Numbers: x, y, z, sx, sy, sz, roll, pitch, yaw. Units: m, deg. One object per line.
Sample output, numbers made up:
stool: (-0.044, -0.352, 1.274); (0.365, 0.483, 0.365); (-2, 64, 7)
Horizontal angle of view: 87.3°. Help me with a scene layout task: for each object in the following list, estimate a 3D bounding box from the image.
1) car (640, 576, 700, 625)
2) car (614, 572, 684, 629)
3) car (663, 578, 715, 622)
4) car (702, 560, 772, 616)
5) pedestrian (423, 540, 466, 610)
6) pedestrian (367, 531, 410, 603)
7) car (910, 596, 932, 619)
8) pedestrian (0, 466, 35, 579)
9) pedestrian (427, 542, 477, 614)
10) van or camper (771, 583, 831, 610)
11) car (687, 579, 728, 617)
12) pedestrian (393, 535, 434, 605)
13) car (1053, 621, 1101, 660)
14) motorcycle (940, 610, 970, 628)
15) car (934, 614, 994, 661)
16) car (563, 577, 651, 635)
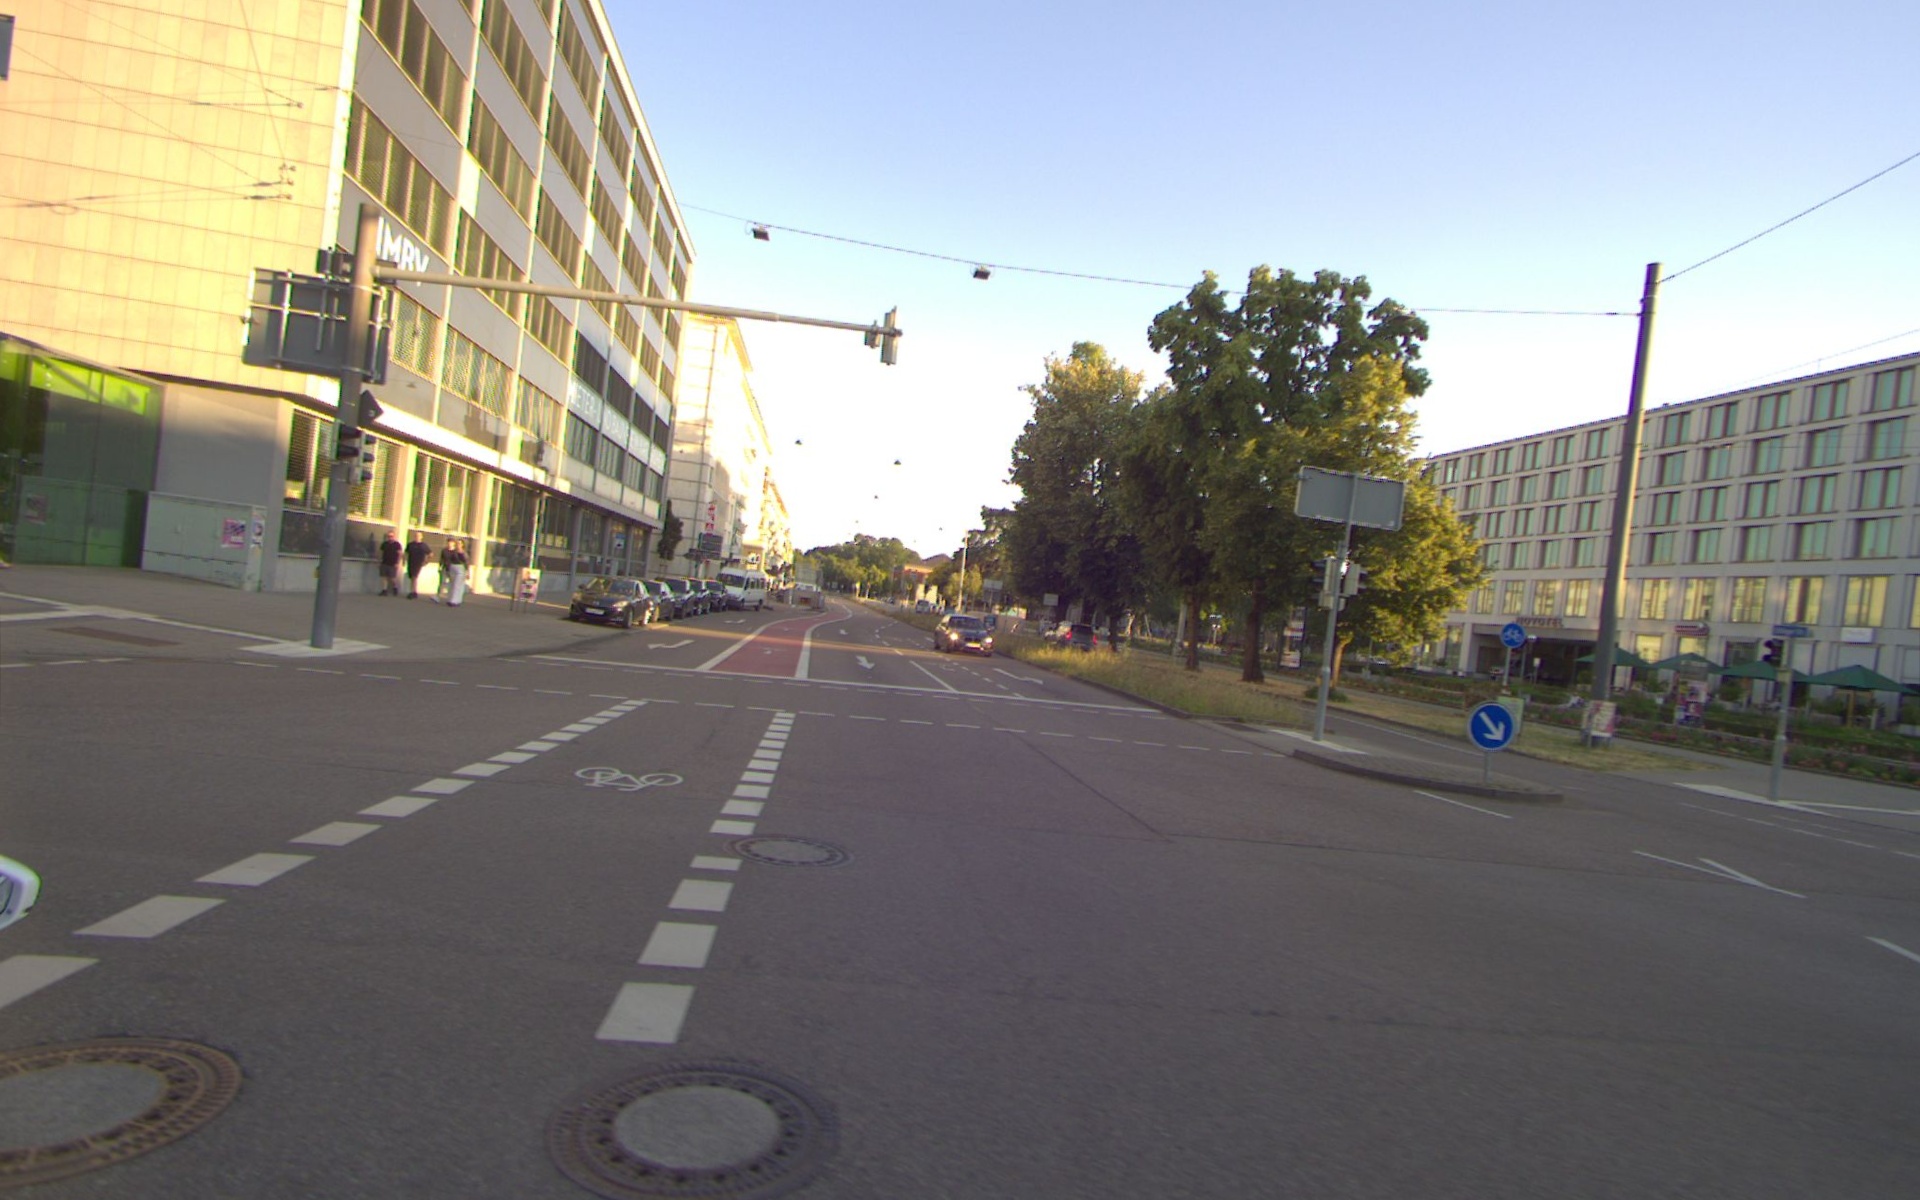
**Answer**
car: (-12.092, 0.019, 42.190); (1.671, 1.683, 3.863); (11, -1, -8)
car: (-11.392, 0.013, 37.091); (1.671, 1.683, 3.863); (11, -1, -8)
car: (-12.697, -0.012, 47.371); (1.671, 1.683, 3.863); (11, -1, -8)
car: (-13.288, -0.627, 60.392); (2.205, 2.657, 5.857); (12, -1, 2)
pedestrian: (-14.040, -0.669, 27.408); (0.729, 1.789, 0.671); (7, 0, -12)
pedestrian: (-14.993, -0.857, 26.387); (0.644, 1.789, 0.644); (7, 0, -12)
car: (-4.306, 0.824, 111.050); (1.857, 2.265, 3.906); (7, 0, -7)
pedestrian: (-15.764, -1.281, 16.287); (0.734, 1.789, 0.707); (7, 0, -8)
pedestrian: (-13.413, -0.580, 26.593); (0.830, 1.789, 0.784); (7, 0, -12)
van or camper: (-16.261, -0.391, 103.080); (5.479, 2.193, 2.221); (6, 0, -38)
car: (-13.460, -0.103, 53.831); (1.480, 1.683, 3.863); (11, -1, -8)
pedestrian: (-14.750, -0.793, 27.186); (0.644, 1.789, 0.644); (7, 0, -12)
car: (5.780, 1.987, 50.123); (1.668, 1.623, 4.091); (10, -1, 0)
motorcycle: (-0.634, 2.346, 123.984); (3.437, 1.776, 0.925); (7, 0, -5)
car: (0.088, 1.363, 38.075); (1.669, 1.438, 4.169); (7, 0, -7)
car: (-10.759, 0.180, 30.932); (1.670, 1.427, 3.863); (9, -1, -8)
